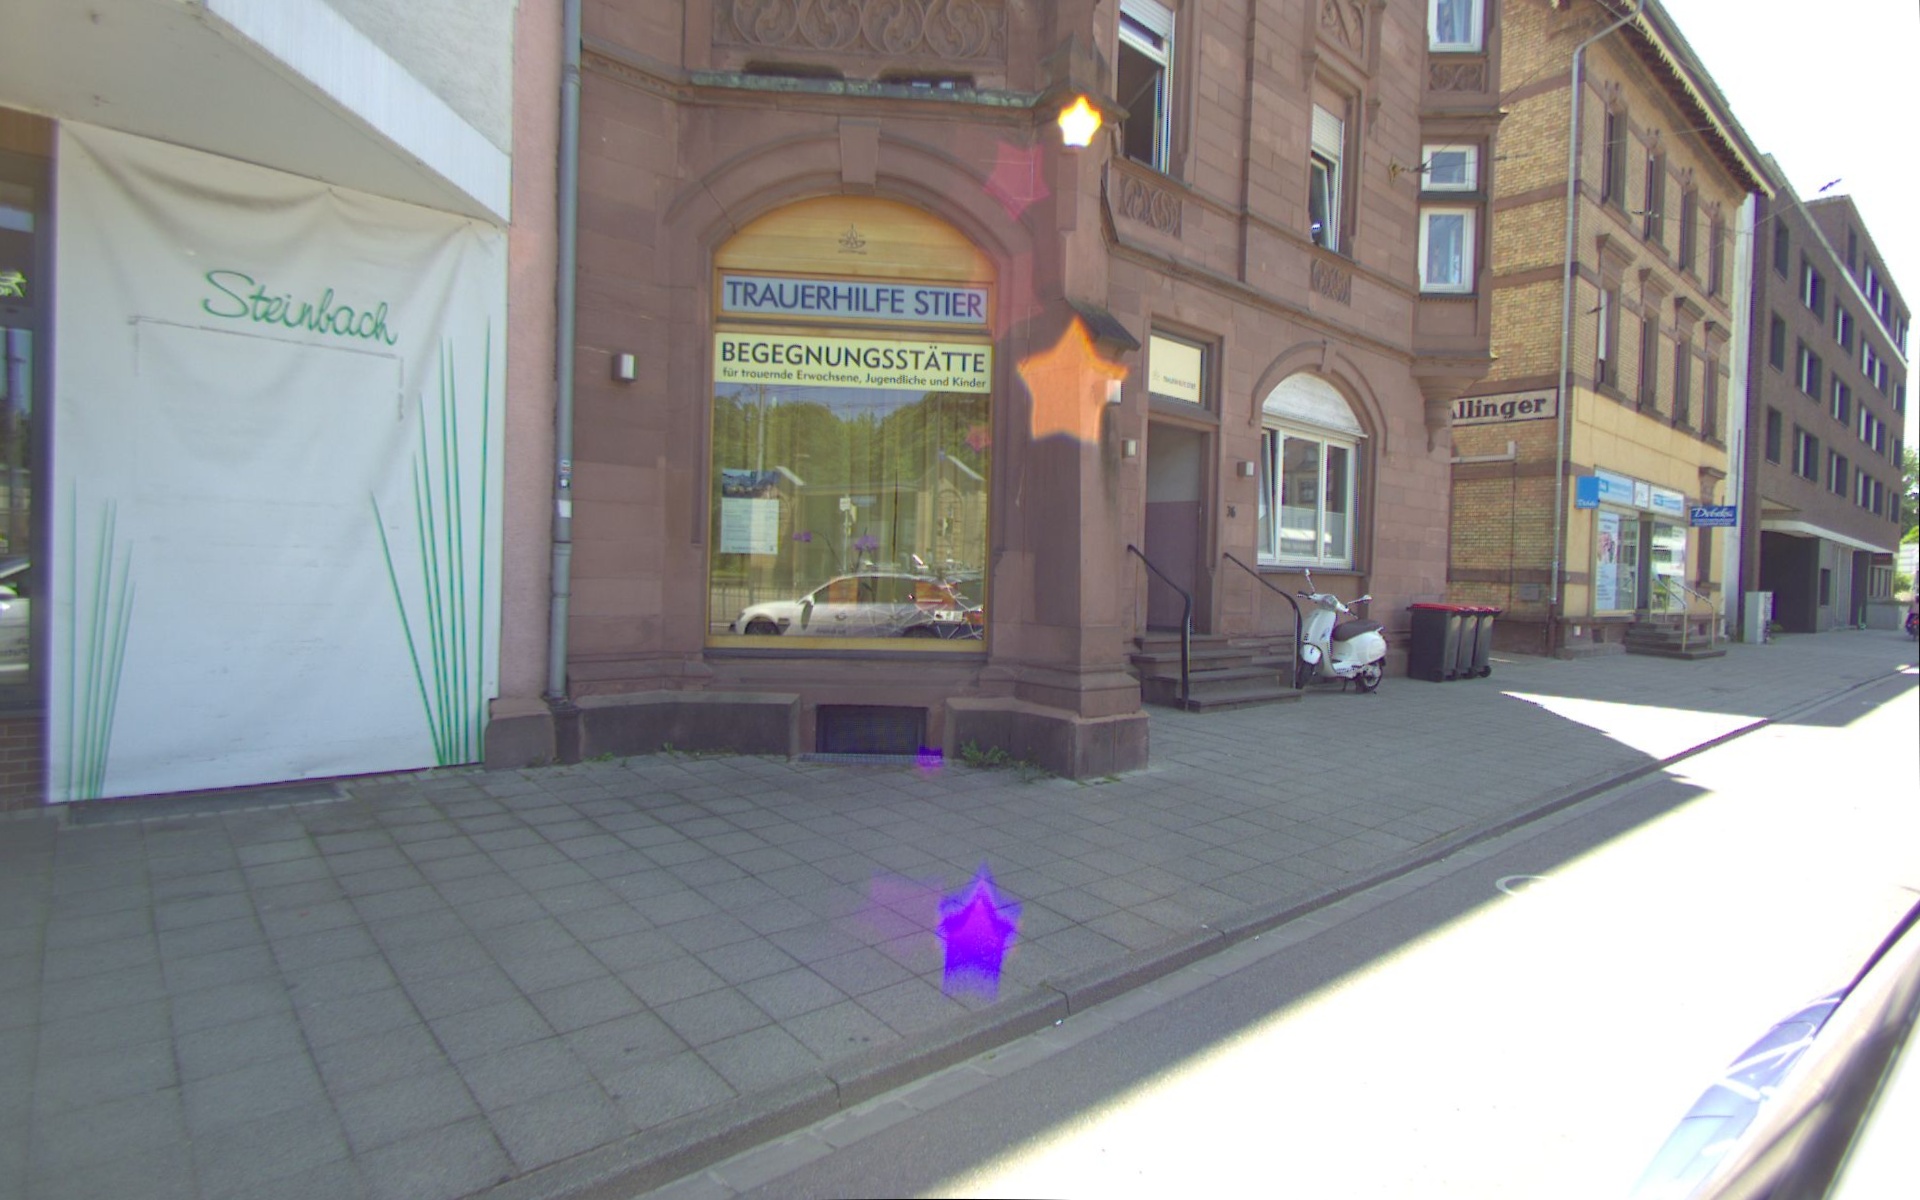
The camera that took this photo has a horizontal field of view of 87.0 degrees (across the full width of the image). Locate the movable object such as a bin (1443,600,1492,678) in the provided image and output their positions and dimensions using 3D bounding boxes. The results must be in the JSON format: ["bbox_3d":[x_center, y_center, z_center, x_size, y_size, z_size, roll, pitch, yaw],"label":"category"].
[{"bbox_3d":[7.195,0.545,14.350,0.549,1.061,0.376,0,4,-42],"label":"movable object such as a bin"}]

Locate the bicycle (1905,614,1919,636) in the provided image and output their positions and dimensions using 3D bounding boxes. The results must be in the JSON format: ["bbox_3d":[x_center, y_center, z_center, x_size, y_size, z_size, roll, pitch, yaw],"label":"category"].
[{"bbox_3d":[36.351,0.943,37.865,1.868,0.807,0.692,1,1,-22],"label":"bicycle"}]

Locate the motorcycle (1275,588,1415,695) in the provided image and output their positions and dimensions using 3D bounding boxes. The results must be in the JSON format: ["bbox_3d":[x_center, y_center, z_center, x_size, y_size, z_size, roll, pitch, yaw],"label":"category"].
[{"bbox_3d":[4.532,0.457,11.851,1.843,1.163,0.529,1,1,-33],"label":"motorcycle"}]

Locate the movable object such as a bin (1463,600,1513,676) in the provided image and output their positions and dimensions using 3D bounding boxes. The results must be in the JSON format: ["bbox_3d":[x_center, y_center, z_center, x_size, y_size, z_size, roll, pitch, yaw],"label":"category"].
[{"bbox_3d":[7.667,0.538,14.692,0.646,1.061,0.376,0,4,-42],"label":"movable object such as a bin"}]

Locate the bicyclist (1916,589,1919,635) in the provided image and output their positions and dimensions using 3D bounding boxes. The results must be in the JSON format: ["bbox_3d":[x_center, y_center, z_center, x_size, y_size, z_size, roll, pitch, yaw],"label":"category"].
[{"bbox_3d":[36.558,0.465,37.936,0.909,1.744,0.673,1,1,-22],"label":"bicyclist"}]

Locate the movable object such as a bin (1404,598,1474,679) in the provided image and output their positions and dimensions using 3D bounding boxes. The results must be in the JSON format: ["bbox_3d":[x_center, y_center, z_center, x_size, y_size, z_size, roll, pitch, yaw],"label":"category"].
[{"bbox_3d":[6.669,0.519,14.093,0.549,1.061,0.649,0,4,-42],"label":"movable object such as a bin"}]
